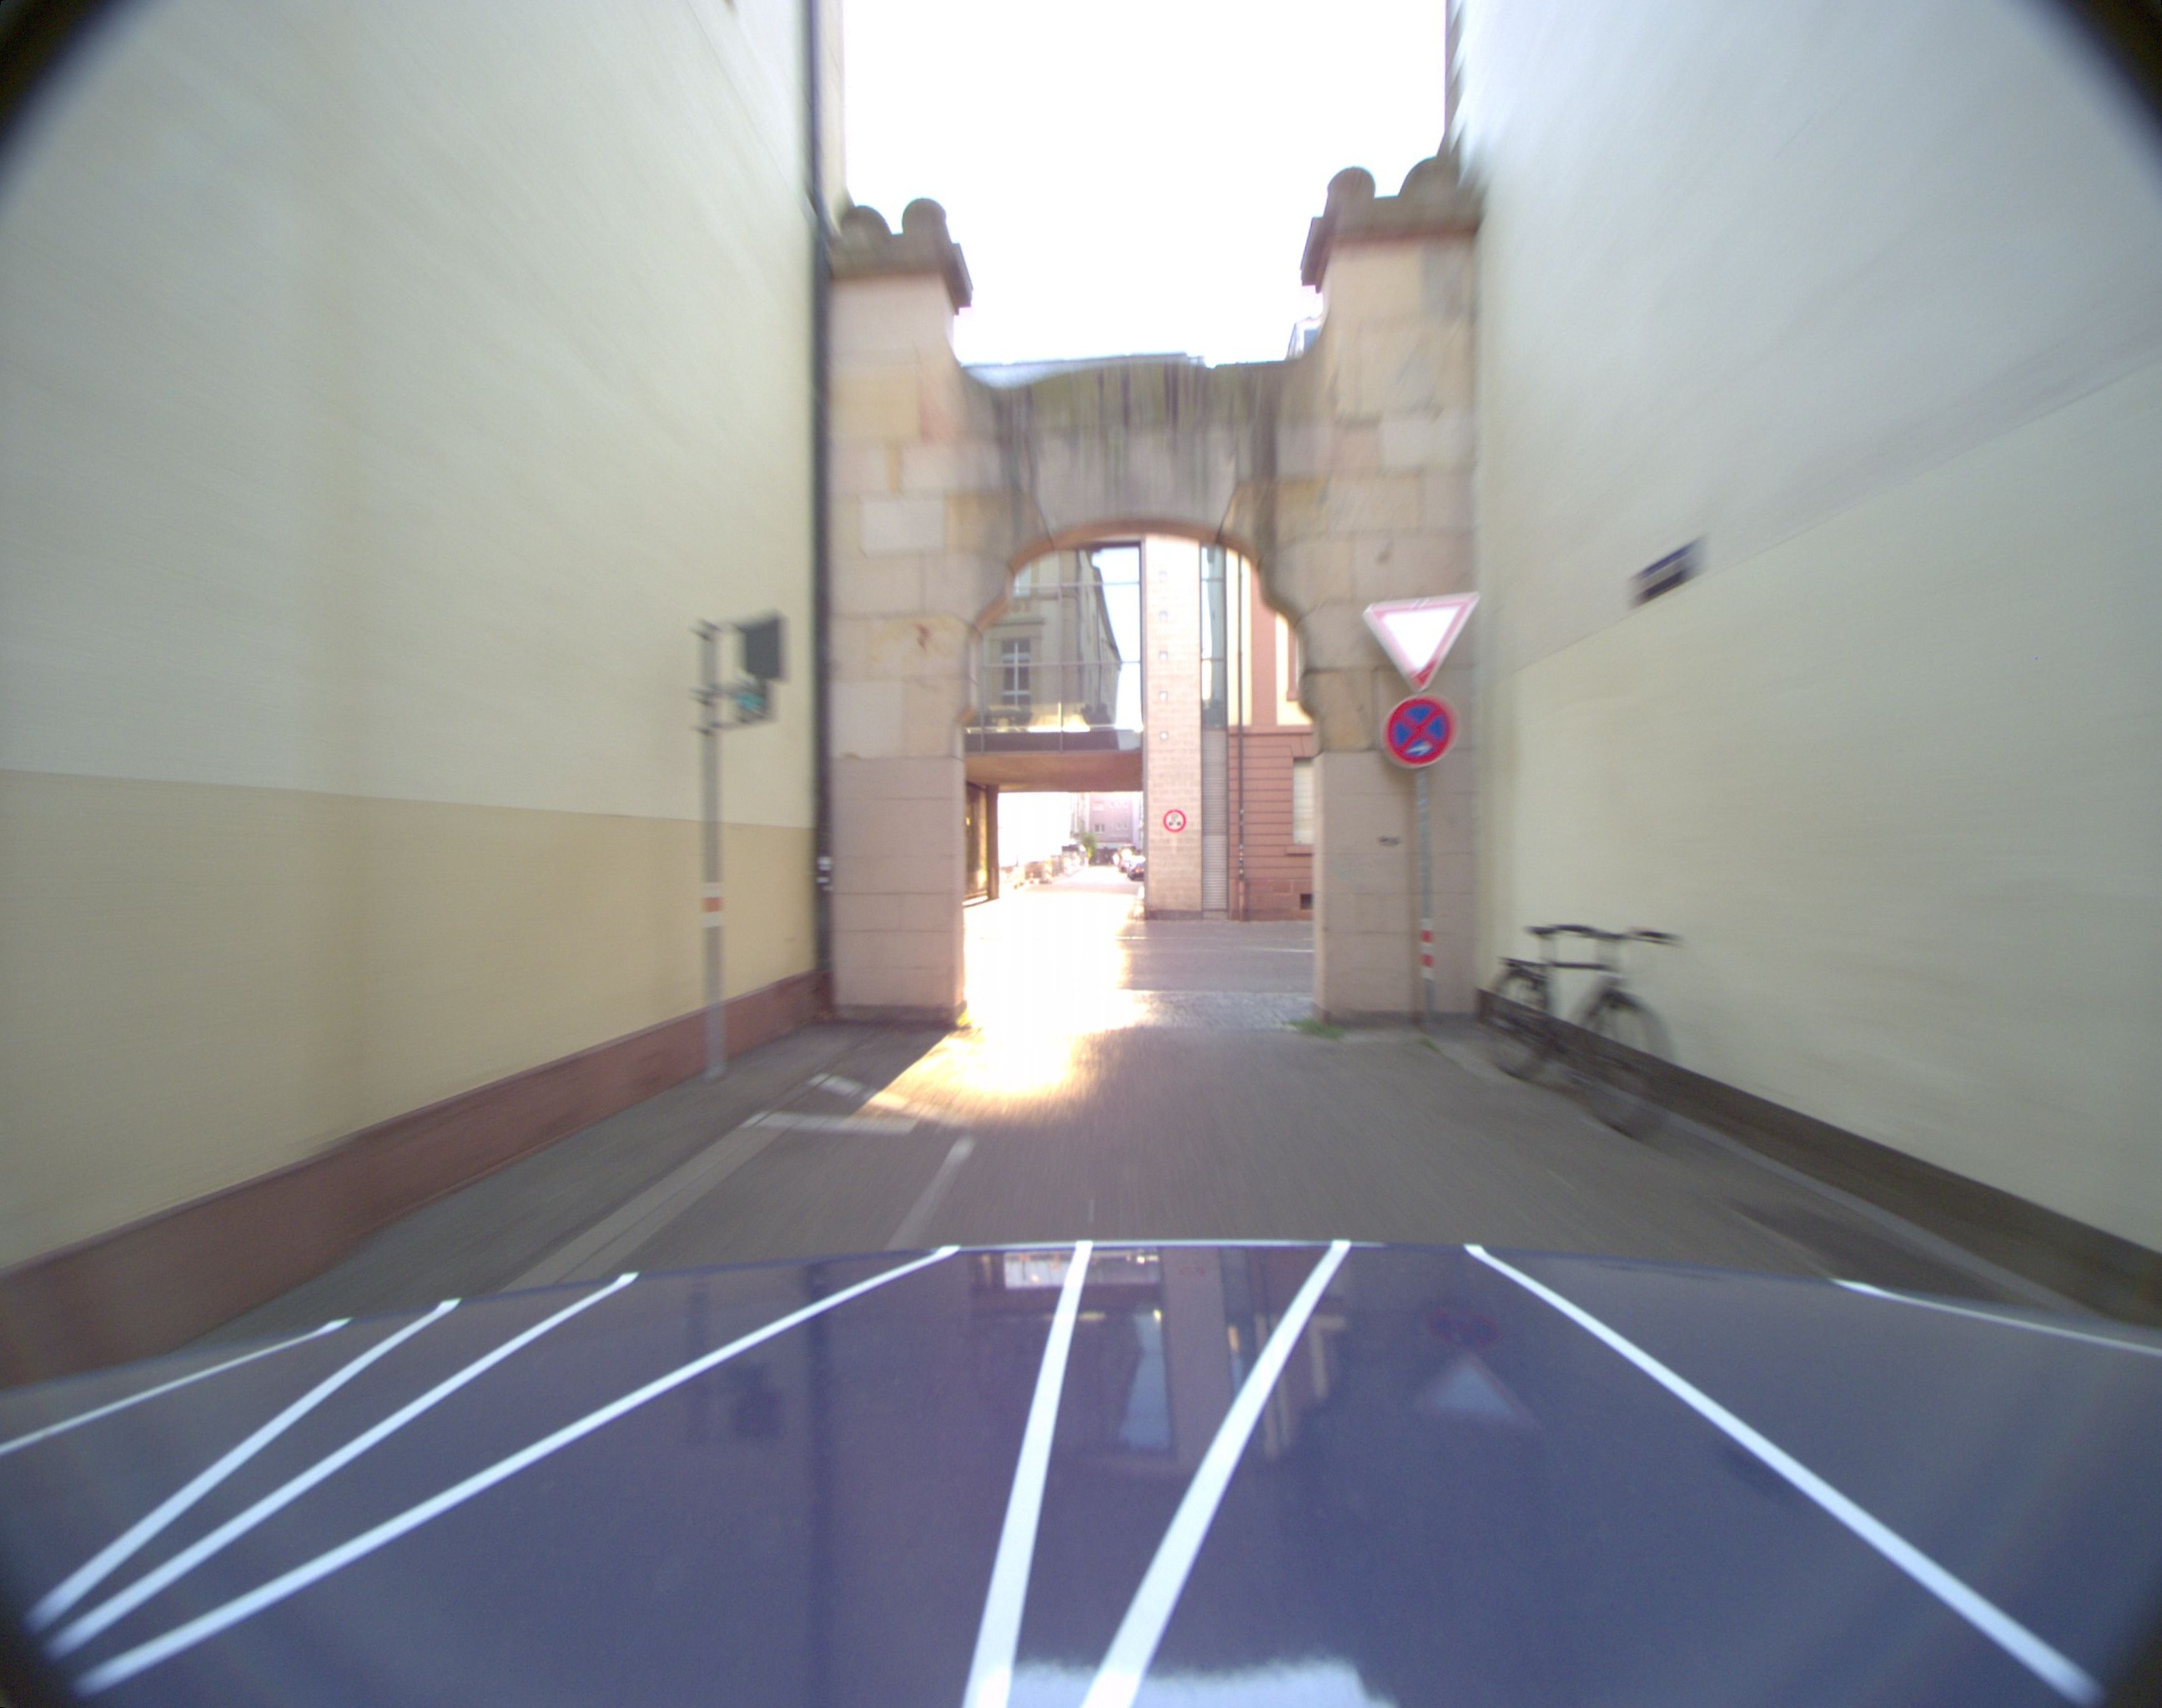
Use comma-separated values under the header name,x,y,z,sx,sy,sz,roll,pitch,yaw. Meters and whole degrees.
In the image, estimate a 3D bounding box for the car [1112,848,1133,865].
name,x,y,z,sx,sy,sz,roll,pitch,yaw
car,3.781,0.235,69.604,1.601,1.485,3.443,-1,1,-2

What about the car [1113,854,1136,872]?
name,x,y,z,sx,sy,sz,roll,pitch,yaw
car,3.673,0.744,64.667,1.601,1.485,3.443,-1,1,-2

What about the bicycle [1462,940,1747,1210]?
name,x,y,z,sx,sy,sz,roll,pitch,yaw
bicycle,2.934,1.154,4.501,0.596,1.073,1.756,-1,1,5

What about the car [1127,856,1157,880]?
name,x,y,z,sx,sy,sz,roll,pitch,yaw
car,4.093,0.917,51.098,1.601,1.485,3.443,-1,1,-2
